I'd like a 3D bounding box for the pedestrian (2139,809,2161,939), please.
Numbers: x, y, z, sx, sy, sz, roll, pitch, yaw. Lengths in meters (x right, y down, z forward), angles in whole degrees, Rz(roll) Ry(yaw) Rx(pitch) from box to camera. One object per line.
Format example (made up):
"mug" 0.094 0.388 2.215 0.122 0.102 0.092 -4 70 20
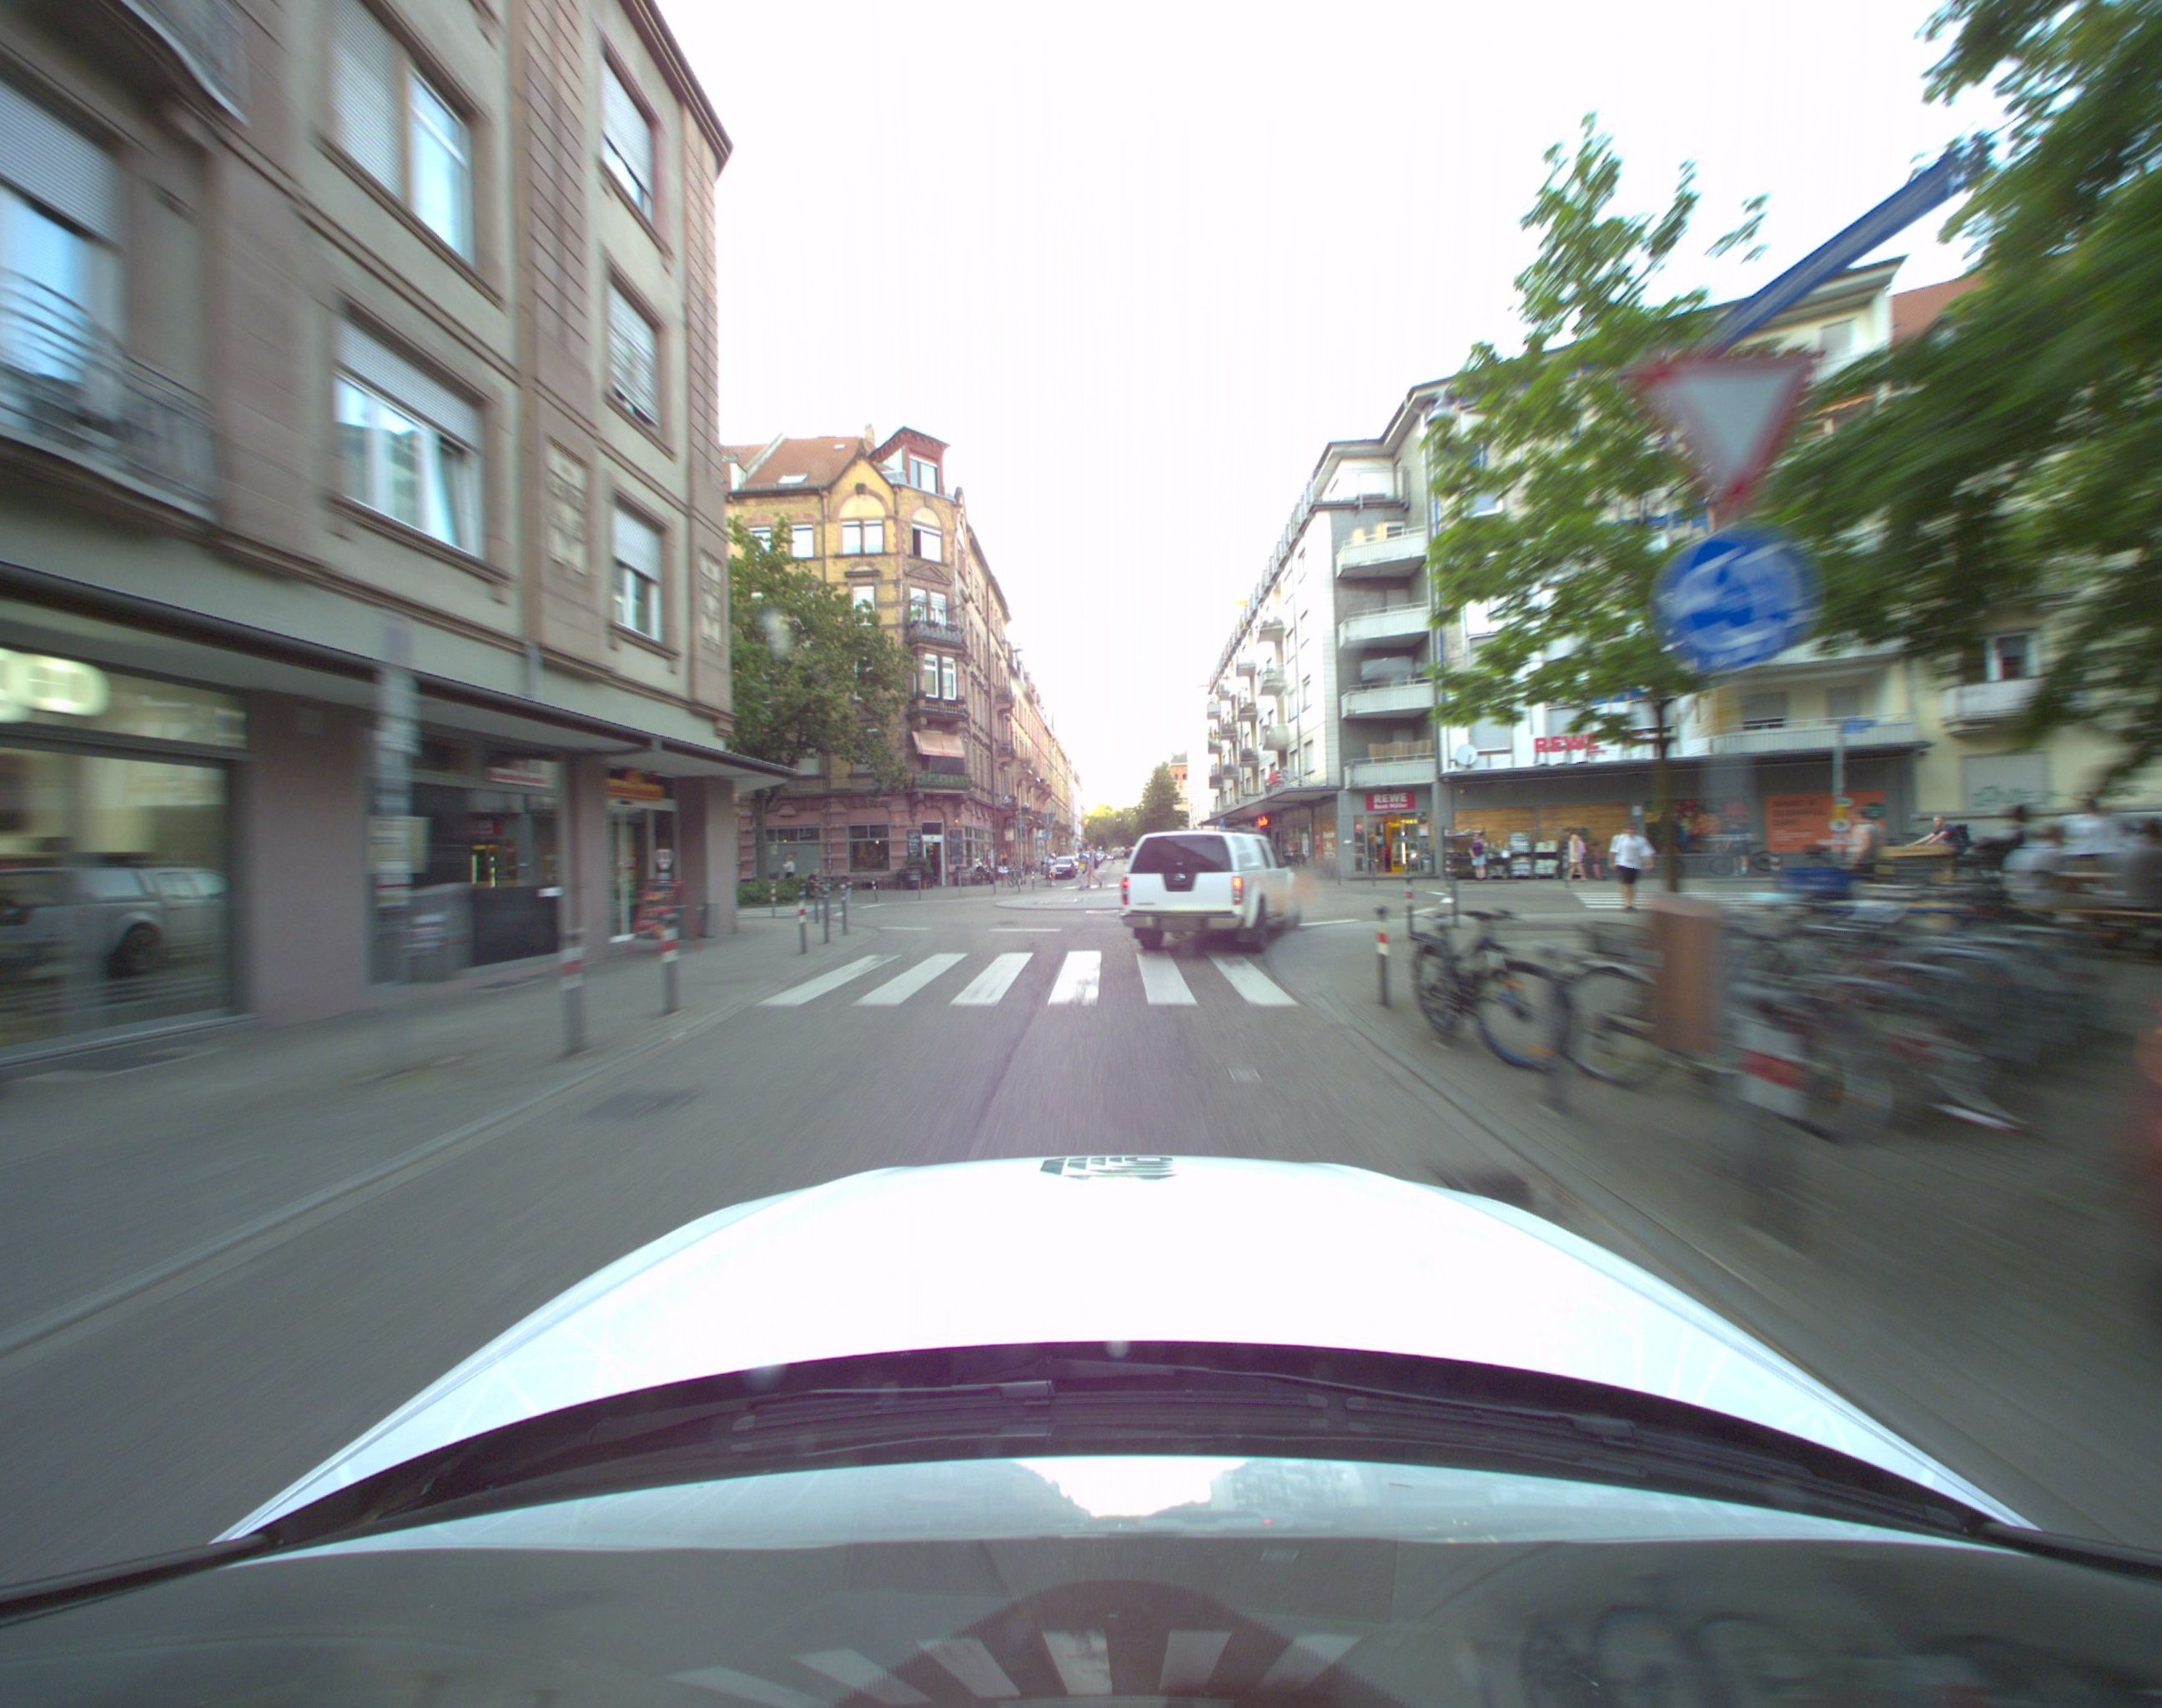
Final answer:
"pedestrian" 10.785 0.193 7.794 0.542 1.269 0.574 0 -1 3

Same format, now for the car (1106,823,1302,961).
"car" 2.238 0.439 13.296 1.921 1.810 5.029 -1 1 23

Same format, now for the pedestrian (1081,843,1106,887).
"pedestrian" 0.546 0.481 35.258 0.909 1.885 0.610 0 -1 -28

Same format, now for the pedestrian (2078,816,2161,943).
"pedestrian" 10.983 0.257 8.450 0.542 1.269 0.574 0 -1 3

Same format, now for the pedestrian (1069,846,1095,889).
"pedestrian" 0.056 0.558 33.956 0.910 1.736 0.609 0 -1 -33

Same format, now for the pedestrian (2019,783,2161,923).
"pedestrian" 13.673 -0.008 11.063 0.832 1.828 0.867 0 -1 -3

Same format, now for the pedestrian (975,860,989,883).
"pedestrian" -5.058 0.887 41.588 0.647 1.191 0.539 0 -1 -2

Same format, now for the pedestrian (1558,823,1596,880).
"pedestrian" 15.385 -0.079 25.268 0.720 1.726 0.664 0 -1 -10

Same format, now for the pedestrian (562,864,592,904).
"pedestrian" -21.831 1.293 35.265 0.659 1.725 0.928 -1 -1 35

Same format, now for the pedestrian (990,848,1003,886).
"pedestrian" -4.065 0.638 39.348 0.505 1.840 0.569 0 -1 -20

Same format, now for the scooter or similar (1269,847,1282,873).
"scooter or similar" 9.926 0.299 41.604 0.437 1.290 1.670 0 -1 5

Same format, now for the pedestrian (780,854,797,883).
"pedestrian" -12.946 0.628 36.032 0.451 1.262 0.578 -1 -1 27

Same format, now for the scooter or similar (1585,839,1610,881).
"scooter or similar" 16.210 0.176 25.576 0.318 1.266 1.295 -1 1 17

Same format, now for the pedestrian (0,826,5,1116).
"pedestrian" -6.641 0.679 4.398 0.705 1.678 0.737 0 0 6

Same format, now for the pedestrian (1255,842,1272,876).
"pedestrian" 9.051 0.236 40.472 0.716 1.663 0.703 0 -1 4

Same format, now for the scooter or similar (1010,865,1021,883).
"scooter or similar" -3.432 1.025 42.716 0.234 0.929 1.256 0 -1 -22

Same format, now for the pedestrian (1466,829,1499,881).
"pedestrian" 13.143 0.034 26.649 0.717 1.652 0.710 0 -1 -39

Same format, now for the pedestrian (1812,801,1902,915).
"pedestrian" 12.934 0.064 13.609 0.857 1.828 0.842 -1 -1 27

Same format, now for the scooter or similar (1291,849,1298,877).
"scooter or similar" 9.889 0.398 37.666 0.218 1.237 0.969 -1 1 10

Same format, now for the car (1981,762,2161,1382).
"car" 4.828 0.463 2.653 4.061 1.628 1.677 -4 1 -29

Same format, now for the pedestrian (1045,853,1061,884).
"pedestrian" -1.480 0.778 42.974 0.795 1.621 0.944 0 -1 0

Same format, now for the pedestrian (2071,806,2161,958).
"pedestrian" 9.845 0.253 7.637 0.543 1.380 0.467 0 -1 0

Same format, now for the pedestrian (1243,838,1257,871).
"pedestrian" 9.882 0.013 47.704 0.717 1.906 0.703 0 -1 3

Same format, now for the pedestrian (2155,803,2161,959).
"pedestrian" 9.792 0.238 6.924 0.541 1.380 0.575 0 -1 9

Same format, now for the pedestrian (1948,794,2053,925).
"pedestrian" 12.729 0.082 11.307 0.826 1.723 0.874 -1 -1 40

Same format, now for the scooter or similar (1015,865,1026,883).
"scooter or similar" -3.191 1.025 42.823 0.234 0.929 1.256 0 -1 -22

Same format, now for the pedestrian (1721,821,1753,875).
"pedestrian" 19.701 -0.181 24.466 0.658 1.601 0.722 -1 -1 32

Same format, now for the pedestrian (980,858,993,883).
"pedestrian" -4.972 0.850 42.773 0.647 1.286 0.539 0 -1 -2

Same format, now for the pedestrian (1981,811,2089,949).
"pedestrian" 9.760 0.259 8.343 0.543 1.380 0.467 0 -1 0

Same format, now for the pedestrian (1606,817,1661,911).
"pedestrian" 10.817 0.200 15.975 0.857 1.770 0.954 -1 -1 33

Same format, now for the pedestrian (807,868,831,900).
"pedestrian" -10.595 1.196 32.973 0.751 1.262 0.668 0 -1 2
